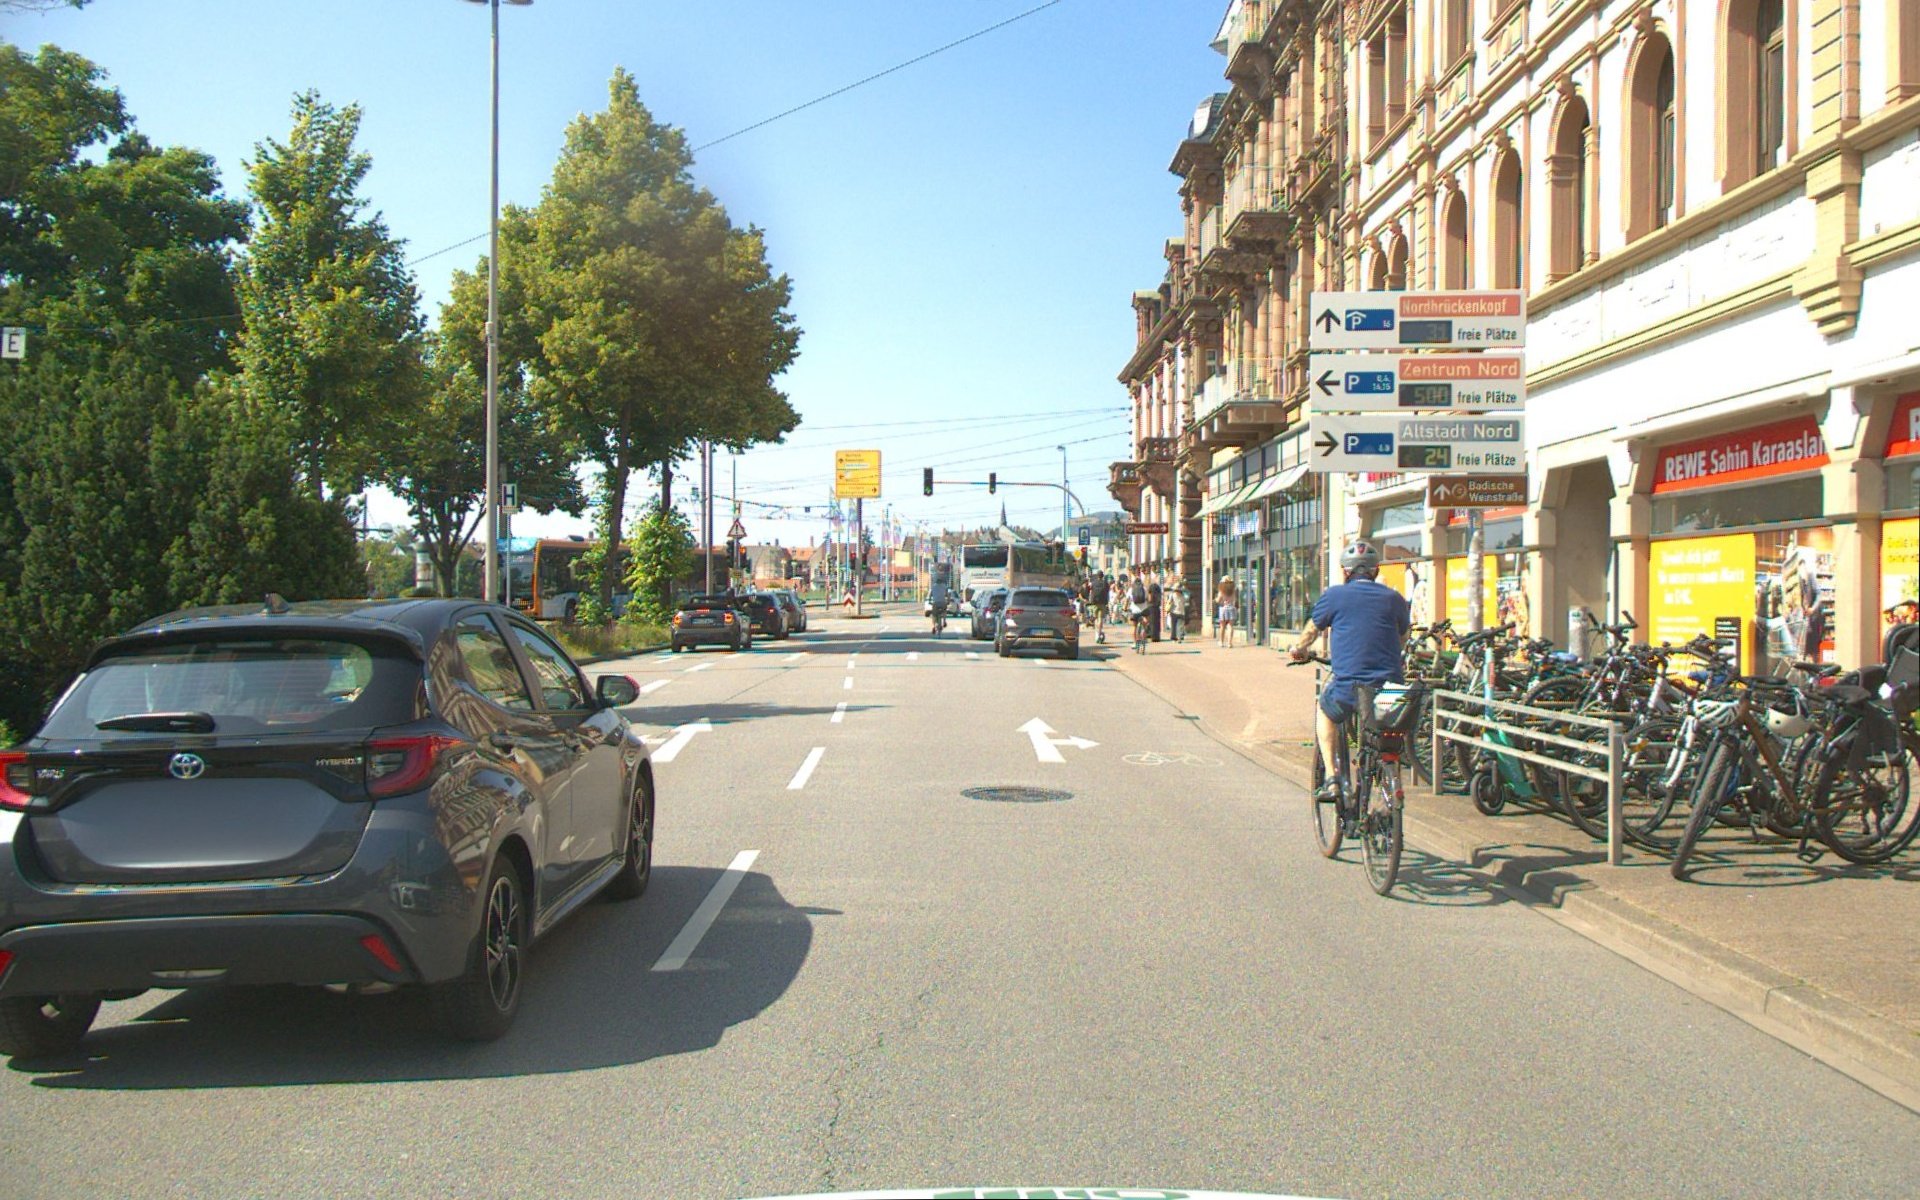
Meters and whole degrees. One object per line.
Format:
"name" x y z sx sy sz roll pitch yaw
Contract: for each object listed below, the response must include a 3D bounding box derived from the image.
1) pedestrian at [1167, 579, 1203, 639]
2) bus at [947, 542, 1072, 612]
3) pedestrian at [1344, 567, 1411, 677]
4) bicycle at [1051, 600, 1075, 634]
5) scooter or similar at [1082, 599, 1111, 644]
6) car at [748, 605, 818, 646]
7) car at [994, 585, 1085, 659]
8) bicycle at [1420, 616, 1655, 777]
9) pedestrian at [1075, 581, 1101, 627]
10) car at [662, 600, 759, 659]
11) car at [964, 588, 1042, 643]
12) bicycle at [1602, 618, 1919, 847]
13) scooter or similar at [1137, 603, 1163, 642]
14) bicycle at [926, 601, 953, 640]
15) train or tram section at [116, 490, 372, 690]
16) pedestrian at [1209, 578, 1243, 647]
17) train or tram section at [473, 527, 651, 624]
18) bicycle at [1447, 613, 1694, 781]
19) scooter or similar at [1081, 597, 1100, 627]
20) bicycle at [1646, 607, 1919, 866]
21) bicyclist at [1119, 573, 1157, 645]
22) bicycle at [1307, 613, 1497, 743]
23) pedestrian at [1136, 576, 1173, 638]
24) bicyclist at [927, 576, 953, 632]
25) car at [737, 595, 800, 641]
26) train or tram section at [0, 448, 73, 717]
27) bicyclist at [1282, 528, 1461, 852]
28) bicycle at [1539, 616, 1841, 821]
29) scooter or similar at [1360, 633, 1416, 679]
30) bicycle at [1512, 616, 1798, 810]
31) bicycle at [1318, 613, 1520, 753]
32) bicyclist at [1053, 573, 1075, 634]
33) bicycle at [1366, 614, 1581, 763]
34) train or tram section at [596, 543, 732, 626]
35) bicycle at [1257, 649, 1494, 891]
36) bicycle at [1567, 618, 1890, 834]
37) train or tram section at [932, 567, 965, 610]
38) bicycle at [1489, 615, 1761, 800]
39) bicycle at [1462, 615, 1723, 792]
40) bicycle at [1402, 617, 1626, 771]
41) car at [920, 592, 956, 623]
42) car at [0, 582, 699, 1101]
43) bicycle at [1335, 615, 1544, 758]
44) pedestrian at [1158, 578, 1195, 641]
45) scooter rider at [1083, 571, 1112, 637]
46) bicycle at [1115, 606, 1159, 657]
"pedestrian" 6.360 0.255 46.805 0.845 1.669 0.875 2 -1 -2
"bus" 2.408 -0.972 75.856 2.908 2.825 8.640 2 -1 21
"pedestrian" 6.594 0.349 26.173 0.740 1.685 0.837 -3 -1 -2
"bicycle" 3.468 0.564 55.557 0.719 1.112 1.898 2 -1 2
"scooter or similar" 3.699 0.576 44.926 0.674 1.188 1.464 2 -1 1
"car" -6.242 0.899 58.761 1.995 1.355 4.000 2 -1 0
"car" 1.754 0.487 37.591 1.835 1.519 4.000 2 -1 0
"bicycle" 4.500 0.743 12.930 1.659 1.199 0.460 1 -1 0
"pedestrian" 4.798 0.154 62.083 0.845 1.669 0.875 2 -1 -2
"car" -6.295 0.735 42.096 1.778 1.355 4.000 2 -1 0
"car" 1.247 0.466 49.305 1.954 1.519 3.997 2 -1 -3
"bicycle" 4.496 0.720 9.179 1.659 1.199 0.497 1 -1 0
"scooter or similar" 5.325 0.629 46.405 0.588 1.066 0.799 2 -1 -3
"bicycle" -0.619 0.614 49.015 0.719 1.112 1.897 2 -1 -2
"train or tram section" -14.451 -0.163 33.926 2.560 3.644 6.016 2 -1 -1
"pedestrian" 6.421 0.294 39.958 0.641 1.649 0.815 -1 0 -2
"train or tram section" -16.412 -0.871 69.208 2.762 3.644 10.038 -1 -1 15
"bicycle" 4.541 0.712 12.349 1.659 1.199 0.459 1 -1 0
"scooter or similar" 4.841 0.452 61.427 0.588 1.066 0.799 2 -1 -3
"bicycle" 4.488 0.686 8.508 1.659 1.263 0.608 1 -1 0
"bicyclist" 4.025 0.205 37.509 0.674 1.604 1.049 2 -1 -1
"bicycle" 4.223 0.735 15.866 1.658 1.199 0.608 0 0 0
"pedestrian" 5.392 0.195 45.786 0.845 1.669 0.875 2 -1 -2
"bicyclist" -0.597 0.128 48.925 0.674 1.604 1.049 2 -1 -2
"car" -5.911 0.548 51.430 1.422 1.323 4.000 2 -1 0
"train or tram section" -14.235 -0.285 21.376 2.560 3.644 5.355 2 -1 -1
"bicyclist" 2.207 0.467 8.958 0.674 1.644 0.918 2 -1 -2
"bicycle" 4.496 0.720 10.230 1.659 1.199 0.451 1 -1 0
"scooter or similar" 6.612 0.862 25.547 0.677 0.661 0.565 -3 -1 -2
"bicycle" 4.502 0.720 10.754 1.659 1.199 0.463 1 -1 0
"bicycle" 4.210 0.750 15.234 1.659 1.199 0.608 -2 0 0
"bicyclist" 3.492 0.118 55.571 0.674 1.996 0.778 2 -1 1
"bicycle" 4.329 0.738 13.985 1.659 1.199 0.469 1 -1 -1
"train or tram section" -13.818 -0.616 78.039 2.763 3.644 8.229 -1 -2 18
"bicycle" 2.189 0.854 8.976 0.719 1.112 1.910 2 -1 -2
"bicycle" 4.490 0.723 9.713 1.659 1.199 0.490 1 -1 0
"train or tram section" -1.049 -1.064 155.274 2.764 3.843 8.227 2 0 1
"bicycle" 4.507 0.719 11.255 1.659 1.199 0.457 1 -1 0
"bicycle" 4.497 0.723 11.806 1.659 1.199 0.514 1 -1 0
"bicycle" 4.502 0.757 13.480 1.659 1.199 0.469 1 -1 -1
"car" -1.176 0.426 88.995 1.820 1.533 4.000 2 -1 0
"car" -2.297 0.732 6.864 1.740 1.501 4.000 -1 -1 0
"bicycle" 4.206 0.749 14.580 1.658 1.199 0.608 -1 0 0
"pedestrian" 5.793 0.248 44.269 0.845 1.669 0.875 0 0 -2
"scooter rider" 3.731 0.101 45.005 0.674 1.759 0.778 2 -1 1
"bicycle" 4.003 0.704 37.557 0.719 1.112 1.897 2 -1 -1
